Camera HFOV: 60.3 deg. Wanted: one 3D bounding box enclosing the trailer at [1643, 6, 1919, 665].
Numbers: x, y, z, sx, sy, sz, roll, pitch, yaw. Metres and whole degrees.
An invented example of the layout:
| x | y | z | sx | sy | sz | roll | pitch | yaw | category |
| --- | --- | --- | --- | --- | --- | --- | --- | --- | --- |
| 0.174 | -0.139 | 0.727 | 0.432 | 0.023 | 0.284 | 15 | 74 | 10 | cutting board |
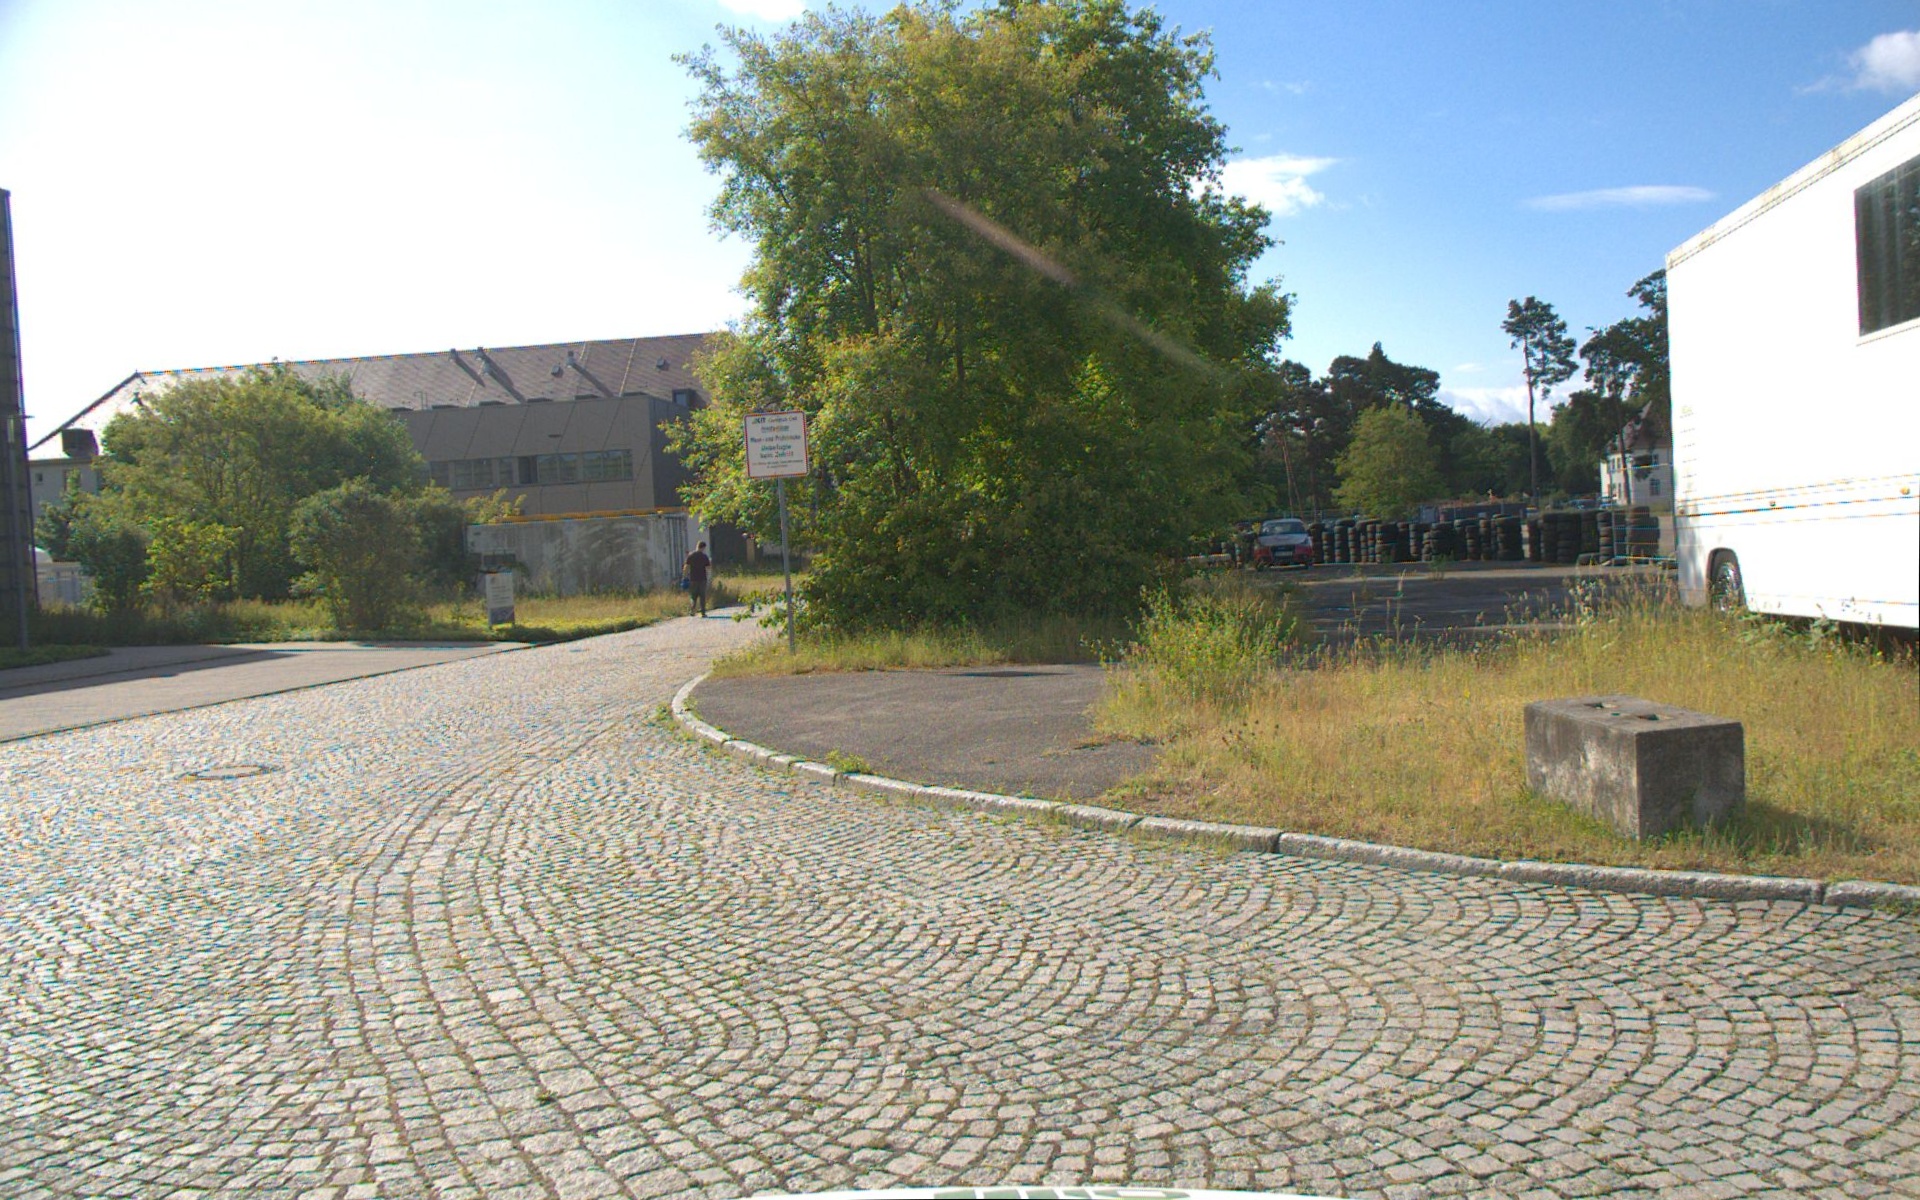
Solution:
| x | y | z | sx | sy | sz | roll | pitch | yaw | category |
| --- | --- | --- | --- | --- | --- | --- | --- | --- | --- |
| 7.258 | -1.661 | 10.334 | 2.713 | 3.978 | 10.898 | -3 | 2 | 8 | trailer |

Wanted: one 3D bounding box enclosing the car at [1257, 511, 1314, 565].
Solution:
| x | y | z | sx | sy | sz | roll | pitch | yaw | category |
| --- | --- | --- | --- | --- | --- | --- | --- | --- | --- |
| 9.570 | -1.836 | 48.602 | 1.508 | 1.431 | 3.582 | -3 | 2 | 11 | car |

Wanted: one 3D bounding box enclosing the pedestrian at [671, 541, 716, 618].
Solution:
| x | y | z | sx | sy | sz | roll | pitch | yaw | category |
| --- | --- | --- | --- | --- | --- | --- | --- | --- | --- |
| -6.434 | -0.511 | 39.984 | 0.778 | 1.811 | 1.069 | -2 | 2 | 4 | pedestrian |
